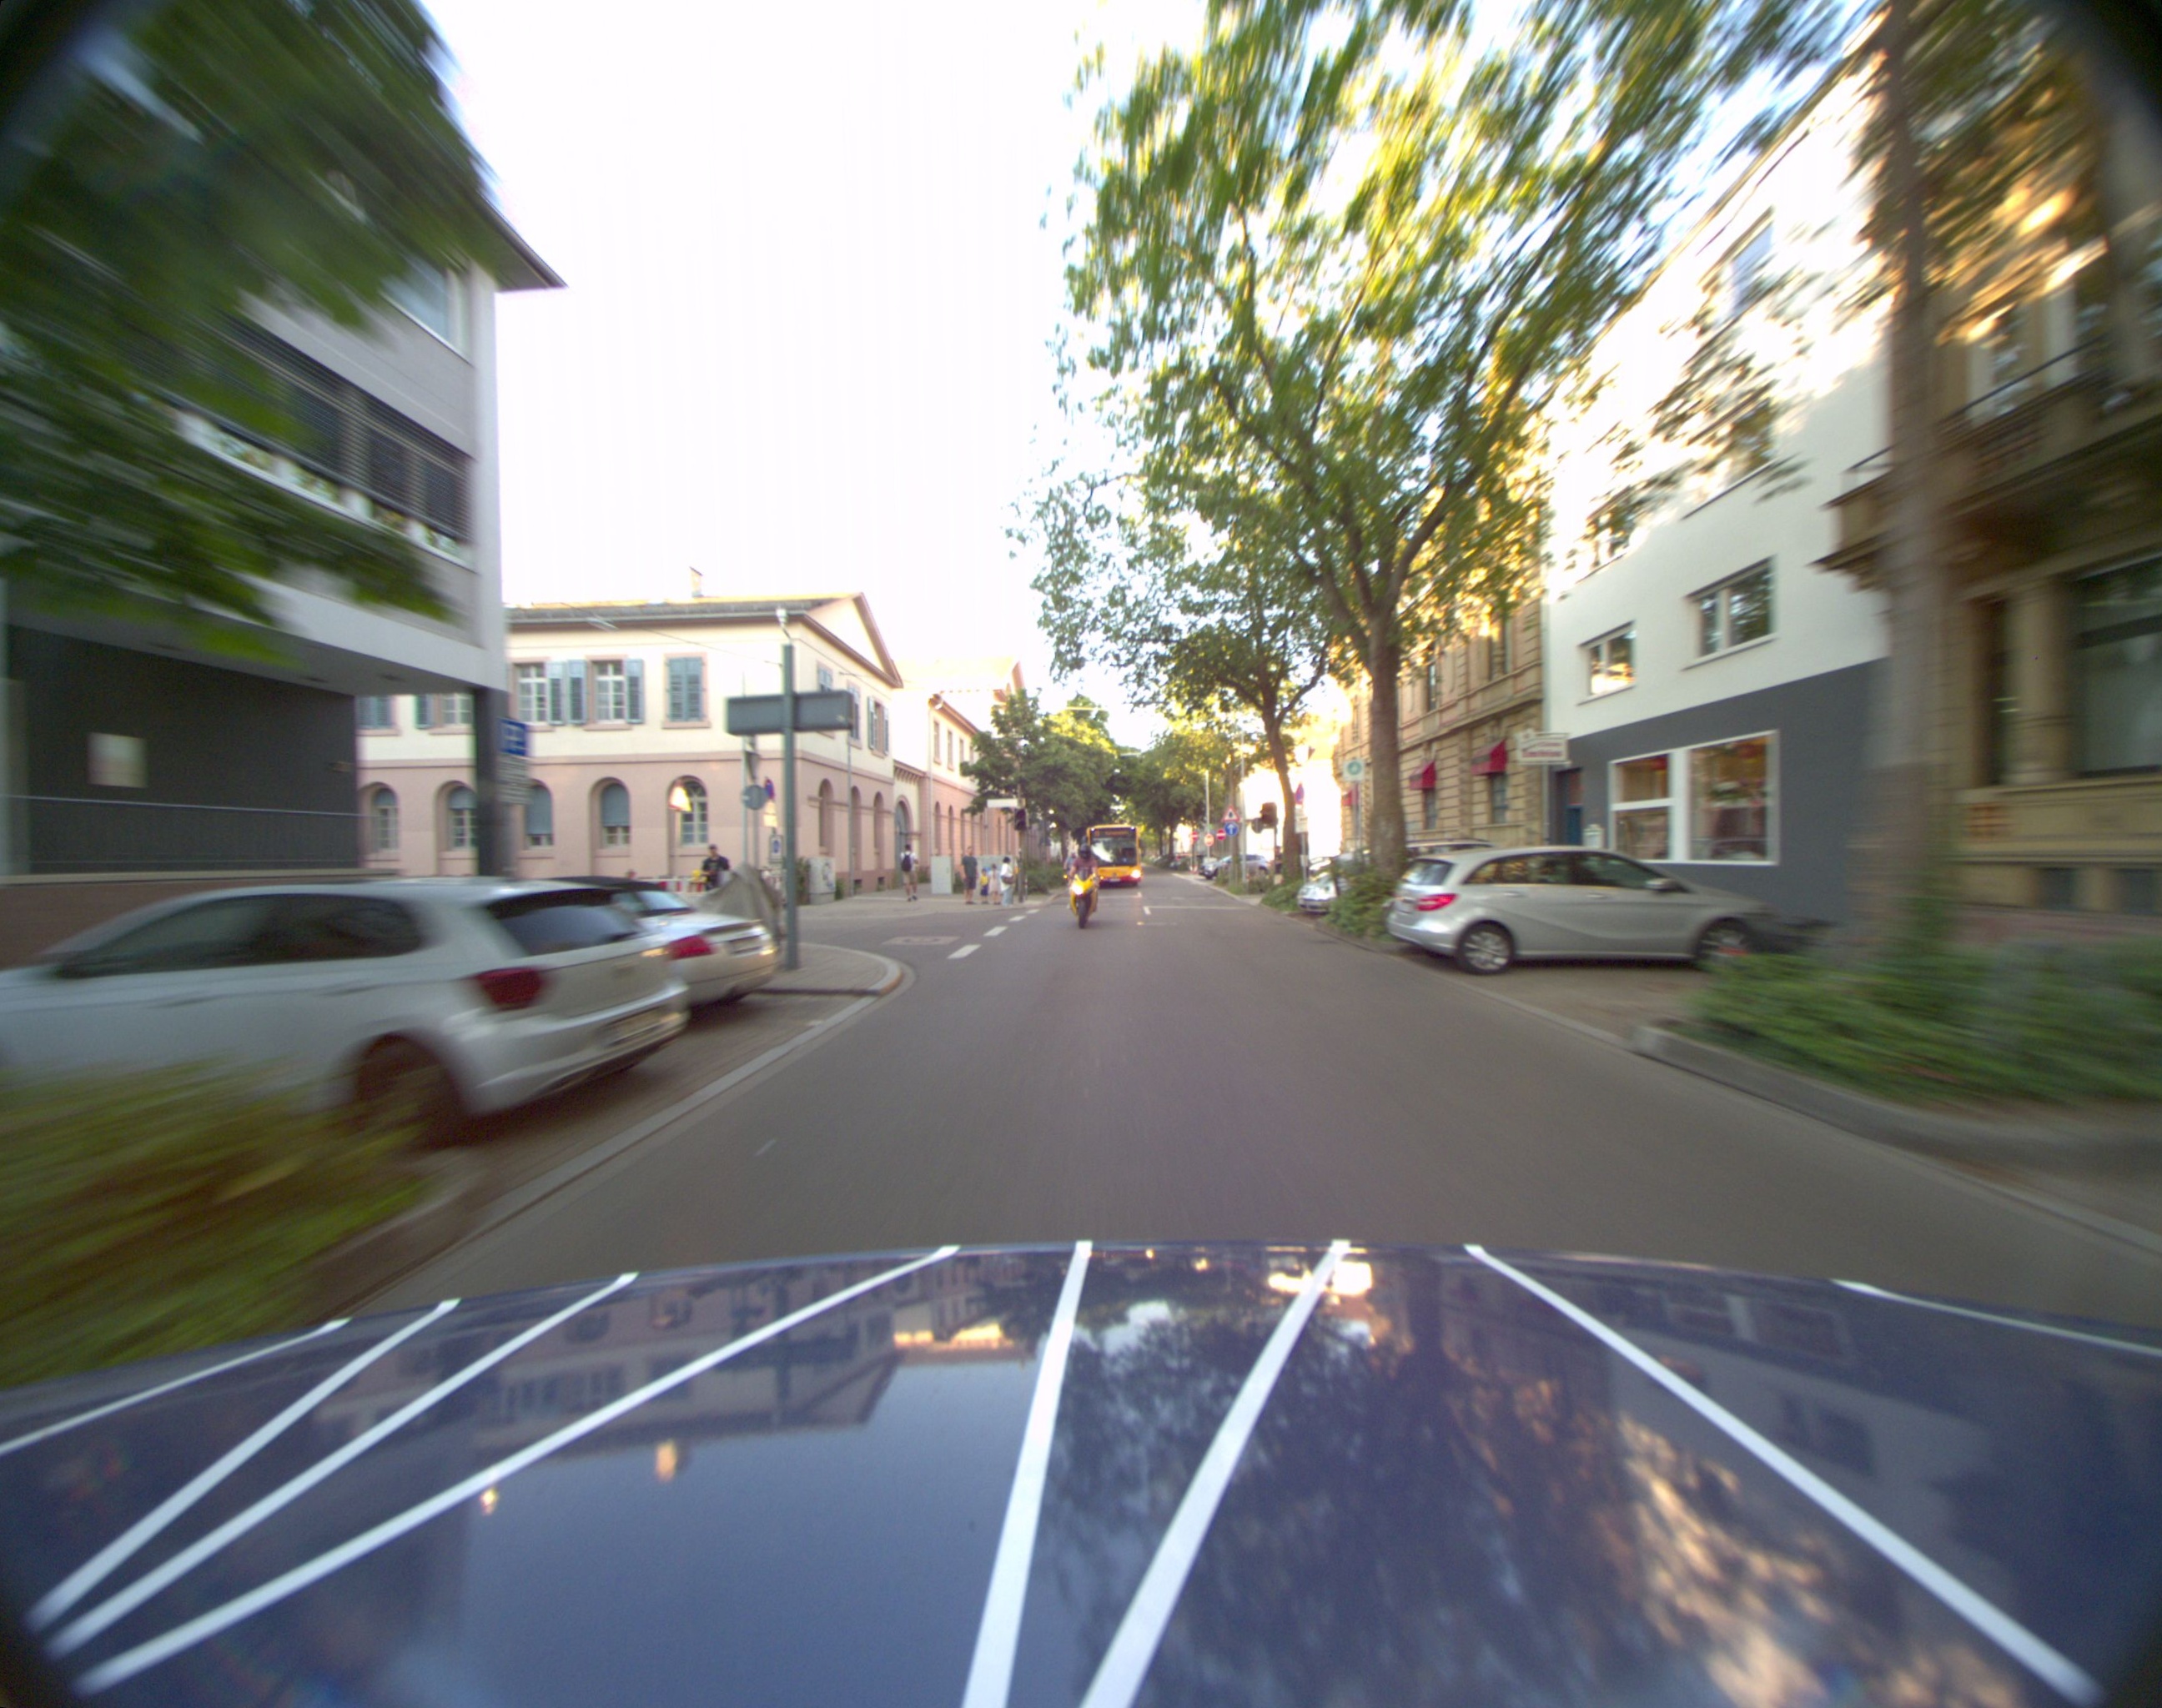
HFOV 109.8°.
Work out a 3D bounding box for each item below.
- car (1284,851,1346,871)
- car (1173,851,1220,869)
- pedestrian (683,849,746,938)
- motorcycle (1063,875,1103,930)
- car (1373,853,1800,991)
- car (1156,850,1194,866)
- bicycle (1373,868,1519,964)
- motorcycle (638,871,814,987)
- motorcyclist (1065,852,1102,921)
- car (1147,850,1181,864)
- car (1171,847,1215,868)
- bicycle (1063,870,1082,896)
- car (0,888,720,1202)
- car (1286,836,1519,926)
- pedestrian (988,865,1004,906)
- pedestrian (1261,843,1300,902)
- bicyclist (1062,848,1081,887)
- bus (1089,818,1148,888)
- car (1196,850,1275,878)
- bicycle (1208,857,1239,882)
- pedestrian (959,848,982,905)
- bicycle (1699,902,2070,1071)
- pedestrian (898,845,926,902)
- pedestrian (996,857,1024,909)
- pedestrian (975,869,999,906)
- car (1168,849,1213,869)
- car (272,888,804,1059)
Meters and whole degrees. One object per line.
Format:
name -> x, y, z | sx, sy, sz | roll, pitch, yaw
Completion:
car -> 18.067, 0.559, 58.683 | 4.260, 1.521, 1.836 | -1, 0, 27
car -> 10.735, 0.542, 70.721 | 3.999, 1.660, 1.799 | -1, 0, -5
pedestrian -> -7.596, 0.801, 15.800 | 0.698, 1.785, 1.066 | -1, 1, 4
motorcycle -> 0.060, 1.000, 16.079 | 0.737, 1.053, 1.965 | 0, 0, 3
car -> 6.171, 0.811, 9.745 | 4.179, 1.548, 1.827 | -1, 1, 6
car -> 10.606, 0.422, 85.755 | 3.999, 1.699, 1.999 | -1, 0, -5
bicycle -> 5.421, 0.896, 11.361 | 1.799, 1.319, 0.774 | -1, 1, -2
motorcycle -> -4.678, 0.939, 10.070 | 1.910, 1.384, 1.001 | 0, 1, 17
motorcyclist -> 0.068, 0.677, 16.084 | 0.737, 1.404, 0.727 | 0, 0, 3
car -> 10.514, 0.336, 96.819 | 3.999, 1.699, 1.844 | -1, 0, -5
car -> 11.170, 0.332, 75.887 | 3.999, 1.940, 1.999 | -1, 0, -5
bicycle -> -0.340, 1.162, 31.179 | 0.637, 0.977, 1.982 | -3, 0, 2
car -> -4.672, 0.991, 4.708 | 3.996, 1.429, 1.794 | -1, 1, 4
car -> 7.140, 0.578, 17.231 | 4.435, 1.712, 1.891 | -3, 0, 1
pedestrian -> -2.652, 0.969, 23.668 | 0.451, 1.254, 0.490 | 1, 1, -2
pedestrian -> 6.173, 0.572, 23.540 | 0.833, 1.767, 0.764 | -2, 1, -36
bicyclist -> -0.382, 0.546, 31.130 | 0.637, 1.552, 0.819 | -3, 0, 2
bus -> 2.085, -0.084, 41.747 | 2.667, 3.176, 11.900 | -2, 0, 3
car -> 9.461, 0.590, 46.621 | 4.362, 1.561, 1.945 | -1, 1, -16
bicycle -> 7.257, 0.786, 38.626 | 0.805, 1.217, 2.422 | -5, -3, 28
pedestrian -> -3.472, 0.707, 23.909 | 0.544, 1.764, 0.576 | 1, 1, 5
bicycle -> 5.387, 0.880, 5.172 | 1.798, 1.003, 0.598 | -2, 1, 4
pedestrian -> -5.529, 0.633, 24.924 | 0.699, 1.844, 1.049 | 0, 0, -1
pedestrian -> -2.134, 0.855, 22.807 | 0.600, 1.503, 0.719 | 1, 1, -25
pedestrian -> -3.006, 1.065, 24.286 | 0.491, 1.138, 0.547 | 2, 1, 41
car -> 10.608, 0.456, 73.439 | 3.999, 1.801, 1.799 | -1, 0, -5
car -> -5.034, 1.048, 7.364 | 3.995, 1.325, 1.795 | -1, 0, 7
